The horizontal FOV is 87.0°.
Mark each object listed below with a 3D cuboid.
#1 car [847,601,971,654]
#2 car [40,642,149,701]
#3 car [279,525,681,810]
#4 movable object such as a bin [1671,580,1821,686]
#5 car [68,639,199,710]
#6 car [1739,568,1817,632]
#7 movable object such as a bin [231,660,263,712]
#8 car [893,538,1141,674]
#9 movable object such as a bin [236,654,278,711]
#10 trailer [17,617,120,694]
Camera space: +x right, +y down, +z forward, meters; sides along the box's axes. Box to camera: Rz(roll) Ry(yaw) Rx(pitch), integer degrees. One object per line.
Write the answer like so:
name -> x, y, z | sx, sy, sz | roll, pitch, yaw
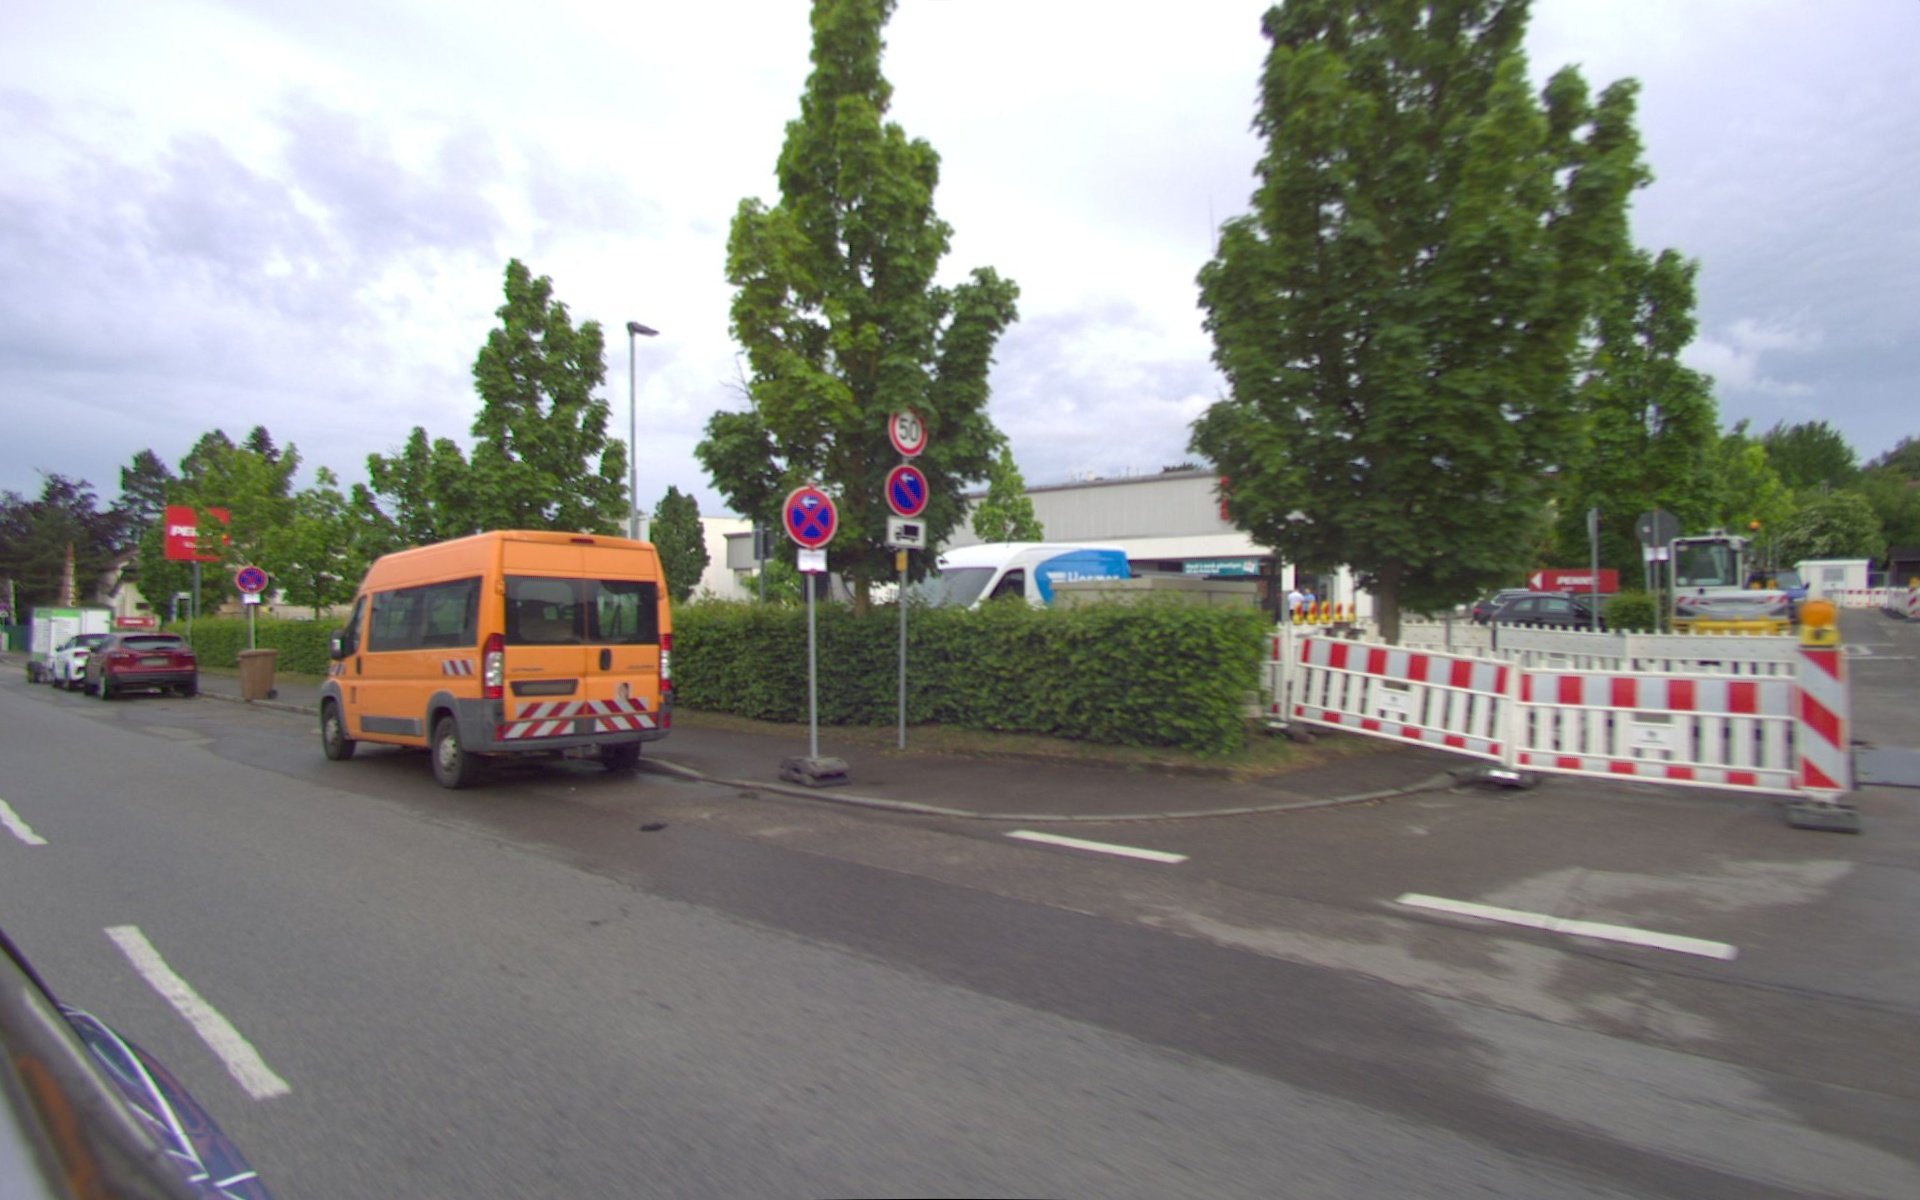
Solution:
car -> -1.594, 0.848, 32.912 | 1.883, 1.563, 4.017 | -1, 0, 37
car -> -24.351, 1.954, 28.434 | 4.134, 1.510, 1.754 | -3, -3, 41
car -> -5.871, 0.699, 11.889 | 6.019, 2.557, 2.102 | -2, -2, 42
movable object such as a bin -> 14.540, 0.555, 18.919 | 1.995, 1.773, 3.392 | -1, 0, 35
car -> -20.516, 1.779, 25.056 | 4.340, 1.585, 1.786 | -2, -3, 41
car -> 31.187, 0.007, 38.717 | 1.971, 2.256, 5.180 | -1, 0, 36
movable object such as a bin -> -15.810, 1.904, 22.424 | 0.485, 1.090, 0.621 | 0, -1, -44
car -> 1.088, 0.086, 17.443 | 2.062, 2.029, 4.261 | -1, 0, 41
movable object such as a bin -> -15.284, 1.787, 21.999 | 0.664, 1.166, 0.622 | -1, -1, -44
trailer -> -28.855, 1.778, 32.704 | 4.727, 2.332, 1.794 | -2, -4, 41
